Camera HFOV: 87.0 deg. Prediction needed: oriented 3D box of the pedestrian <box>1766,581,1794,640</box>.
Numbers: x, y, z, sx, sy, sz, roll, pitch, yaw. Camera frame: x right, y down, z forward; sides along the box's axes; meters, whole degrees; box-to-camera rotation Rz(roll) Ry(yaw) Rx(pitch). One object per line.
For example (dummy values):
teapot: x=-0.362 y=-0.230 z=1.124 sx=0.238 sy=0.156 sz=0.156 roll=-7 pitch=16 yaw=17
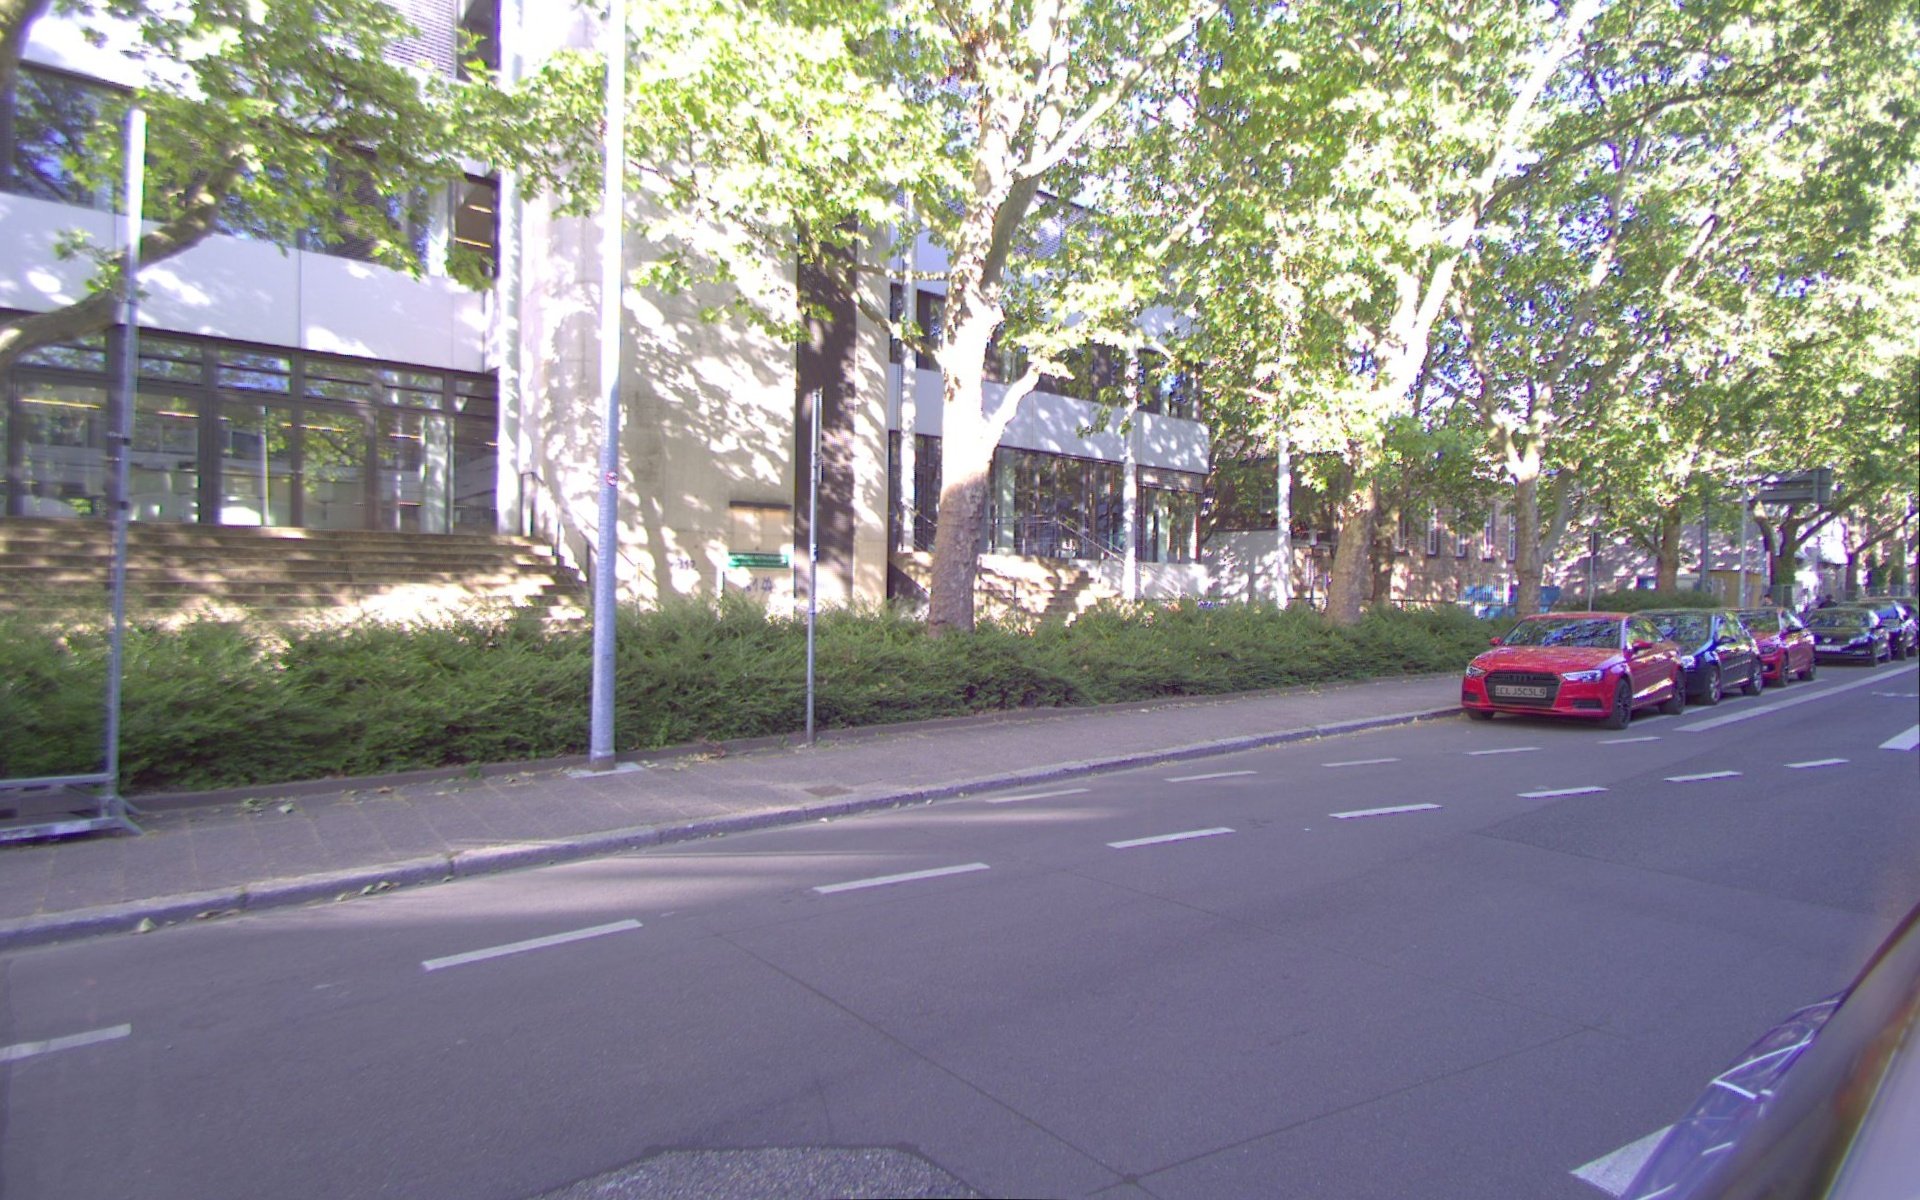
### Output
pedestrian: x=25.764 y=0.311 z=31.790 sx=0.583 sy=1.818 sz=0.600 roll=0 pitch=0 yaw=-41

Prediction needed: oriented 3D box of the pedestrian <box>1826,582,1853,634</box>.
pedestrian: x=31.799 y=0.284 z=36.593 sx=0.629 sy=1.884 sz=0.660 roll=0 pitch=0 yaw=-41

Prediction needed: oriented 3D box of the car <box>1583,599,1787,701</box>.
car: x=12.017 y=0.722 z=16.683 sx=4.095 sy=1.464 sz=1.834 roll=0 pitch=0 yaw=-41

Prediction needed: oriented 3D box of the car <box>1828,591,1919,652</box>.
car: x=26.554 y=0.575 z=29.084 sx=4.088 sy=1.626 sz=1.834 roll=0 pitch=0 yaw=-40

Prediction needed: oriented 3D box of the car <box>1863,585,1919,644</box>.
car: x=31.039 y=0.441 z=32.973 sx=4.383 sy=1.820 sz=1.834 roll=0 pitch=0 yaw=-40

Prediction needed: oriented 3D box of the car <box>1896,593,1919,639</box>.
car: x=35.903 y=0.584 z=37.099 sx=4.183 sy=1.634 sz=1.834 roll=0 pitch=0 yaw=-40

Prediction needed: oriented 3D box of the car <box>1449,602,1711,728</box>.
car: x=8.398 y=0.739 z=13.566 sx=4.173 sy=1.422 sz=1.834 roll=0 pitch=0 yaw=-41

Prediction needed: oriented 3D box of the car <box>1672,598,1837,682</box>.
car: x=15.833 y=0.712 z=20.098 sx=4.095 sy=1.486 sz=1.834 roll=0 pitch=0 yaw=-41

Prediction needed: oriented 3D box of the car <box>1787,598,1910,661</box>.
car: x=22.865 y=0.705 z=25.989 sx=4.095 sy=1.486 sz=1.834 roll=0 pitch=0 yaw=-41
